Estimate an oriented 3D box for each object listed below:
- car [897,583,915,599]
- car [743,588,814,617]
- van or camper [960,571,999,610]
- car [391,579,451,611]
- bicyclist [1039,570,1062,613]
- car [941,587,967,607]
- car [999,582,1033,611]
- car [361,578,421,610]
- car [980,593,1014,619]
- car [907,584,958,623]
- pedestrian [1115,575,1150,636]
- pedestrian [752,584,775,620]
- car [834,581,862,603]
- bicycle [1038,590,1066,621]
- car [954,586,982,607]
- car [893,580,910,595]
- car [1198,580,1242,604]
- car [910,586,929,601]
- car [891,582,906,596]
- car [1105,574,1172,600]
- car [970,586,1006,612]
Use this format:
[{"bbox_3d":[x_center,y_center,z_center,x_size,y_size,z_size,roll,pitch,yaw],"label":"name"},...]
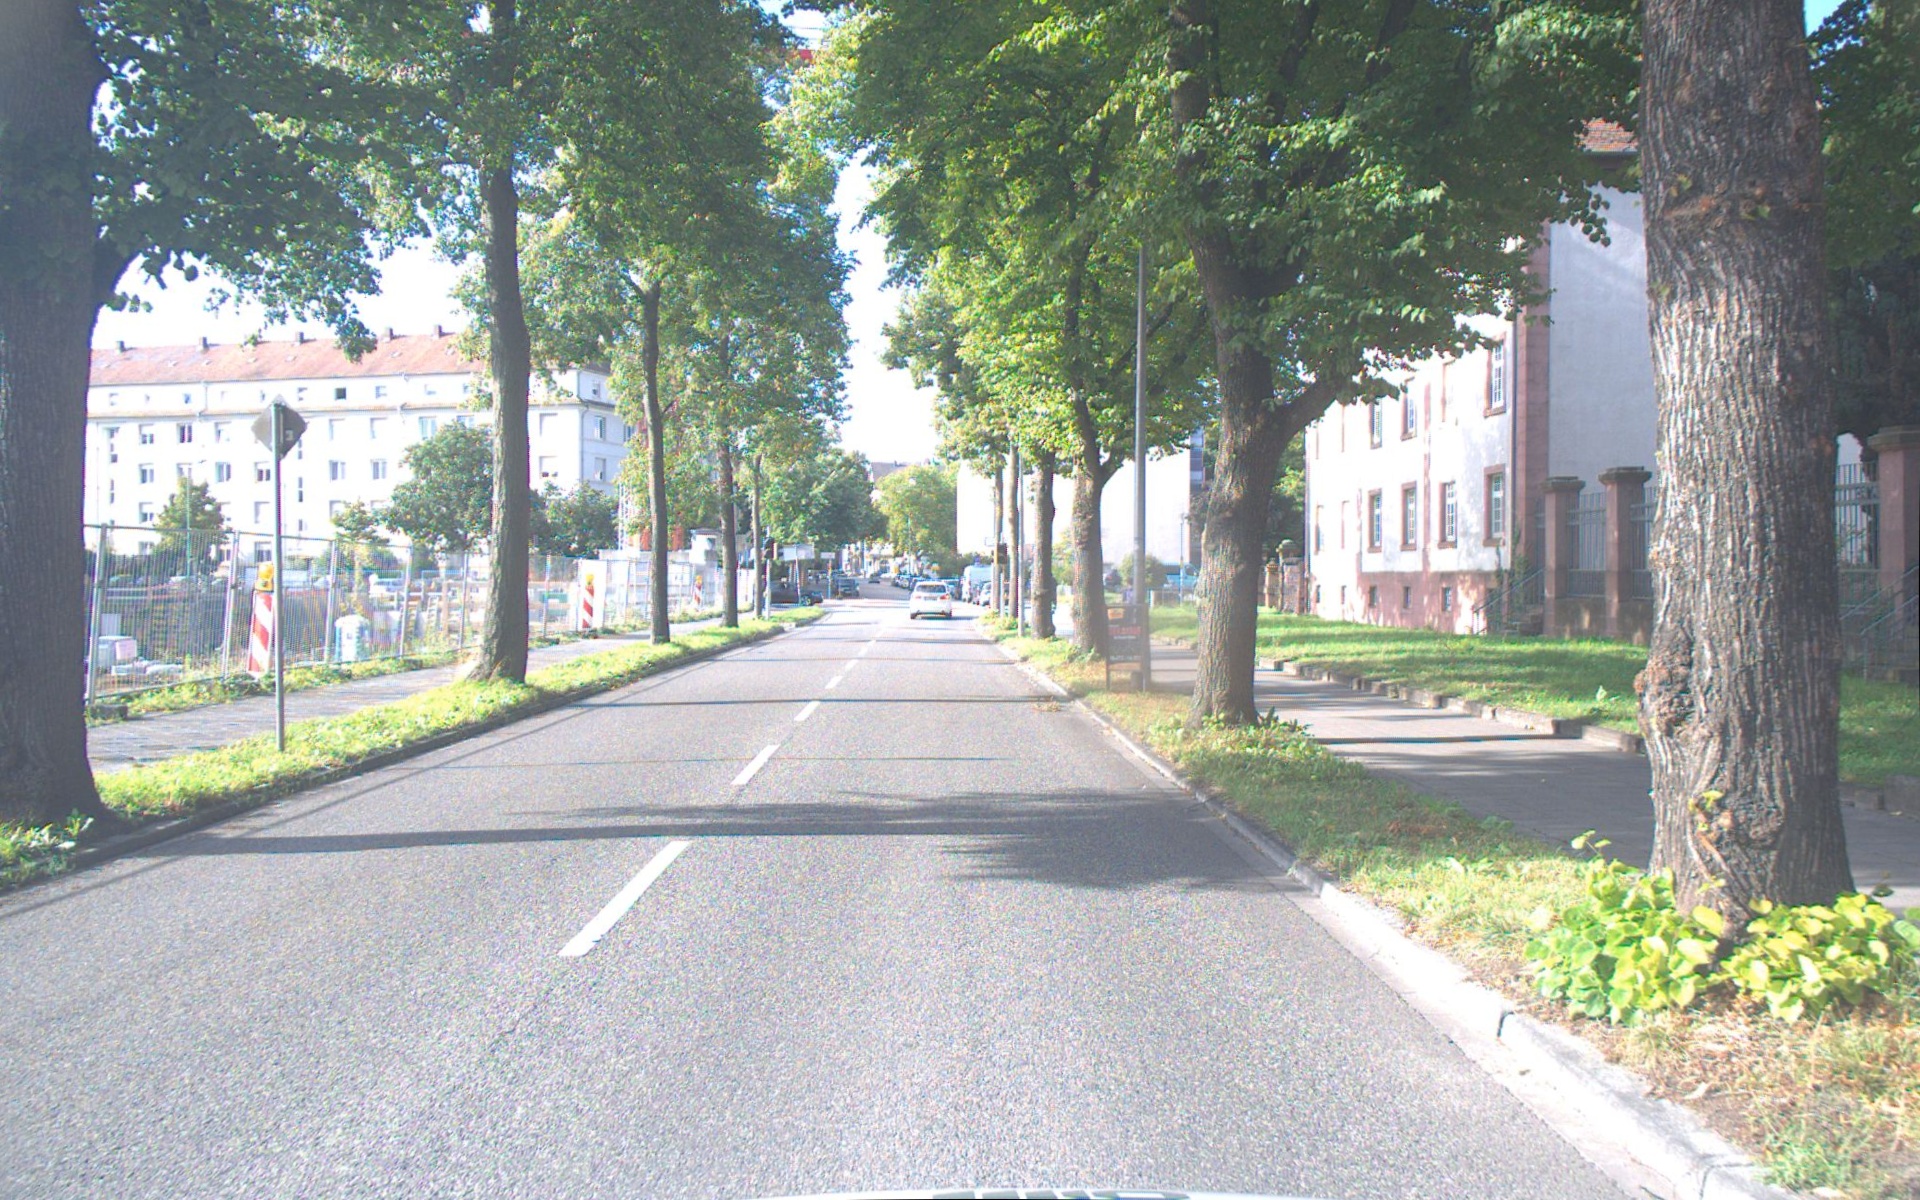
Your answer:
[{"bbox_3d":[-6.260,-1.064,190.518,1.953,1.785,3.999,1,0,-1],"label":"car"},{"bbox_3d":[-10.524,0.114,95.568,3.916,1.598,1.994,1,0,-12],"label":"car"},{"bbox_3d":[1.328,-0.678,115.537,2.166,2.652,5.366,-1,1,-5],"label":"van or camper"},{"bbox_3d":[-35.617,-0.325,109.441,1.951,2.049,4.004,0,1,13],"label":"car"},{"bbox_3d":[3.271,-0.306,59.756,0.722,1.540,0.874,-2,0,-2],"label":"bicyclist"},{"bbox_3d":[-0.511,-0.224,137.038,1.953,1.601,3.998,-1,1,-2],"label":"car"},{"bbox_3d":[3.083,-0.177,91.207,1.682,1.522,4.268,-1,0,0],"label":"car"},{"bbox_3d":[-37.923,-0.403,110.306,1.951,2.049,4.004,0,1,13],"label":"car"},{"bbox_3d":[2.254,0.360,102.384,1.974,1.500,4.801,-1,0,0],"label":"car"},{"bbox_3d":[-1.225,0.155,71.513,1.954,1.582,4.270,1,0,-5],"label":"car"},{"bbox_3d":[4.697,0.150,44.986,0.797,1.618,0.769,-2,0,-2],"label":"pedestrian"},{"bbox_3d":[-9.662,0.091,81.327,0.989,1.758,1.174,1,-1,-14],"label":"pedestrian"},{"bbox_3d":[-8.910,-0.671,131.659,1.956,1.668,3.993,-1,1,-8],"label":"car"},{"bbox_3d":[3.288,0.194,59.571,0.725,1.053,2.761,-2,0,-2],"label":"bicycle"},{"bbox_3d":[0.565,-0.279,126.512,1.953,1.601,3.998,-1,1,-2],"label":"car"},{"bbox_3d":[-7.224,-1.570,203.096,1.953,1.785,3.999,1,0,-1],"label":"car"},{"bbox_3d":[16.503,-0.507,105.101,1.954,1.467,3.997,-1,1,-4],"label":"car"},{"bbox_3d":[-4.287,-0.709,174.279,1.953,1.601,3.998,-1,1,-2],"label":"car"},{"bbox_3d":[-8.268,-1.459,223.511,1.953,1.785,3.999,1,0,-1],"label":"car"},{"bbox_3d":[11.965,-0.876,111.045,4.356,1.650,2.001,-1,1,2],"label":"car"},{"bbox_3d":[1.837,-0.096,109.582,1.954,1.644,4.404,-1,1,-5],"label":"car"}]
